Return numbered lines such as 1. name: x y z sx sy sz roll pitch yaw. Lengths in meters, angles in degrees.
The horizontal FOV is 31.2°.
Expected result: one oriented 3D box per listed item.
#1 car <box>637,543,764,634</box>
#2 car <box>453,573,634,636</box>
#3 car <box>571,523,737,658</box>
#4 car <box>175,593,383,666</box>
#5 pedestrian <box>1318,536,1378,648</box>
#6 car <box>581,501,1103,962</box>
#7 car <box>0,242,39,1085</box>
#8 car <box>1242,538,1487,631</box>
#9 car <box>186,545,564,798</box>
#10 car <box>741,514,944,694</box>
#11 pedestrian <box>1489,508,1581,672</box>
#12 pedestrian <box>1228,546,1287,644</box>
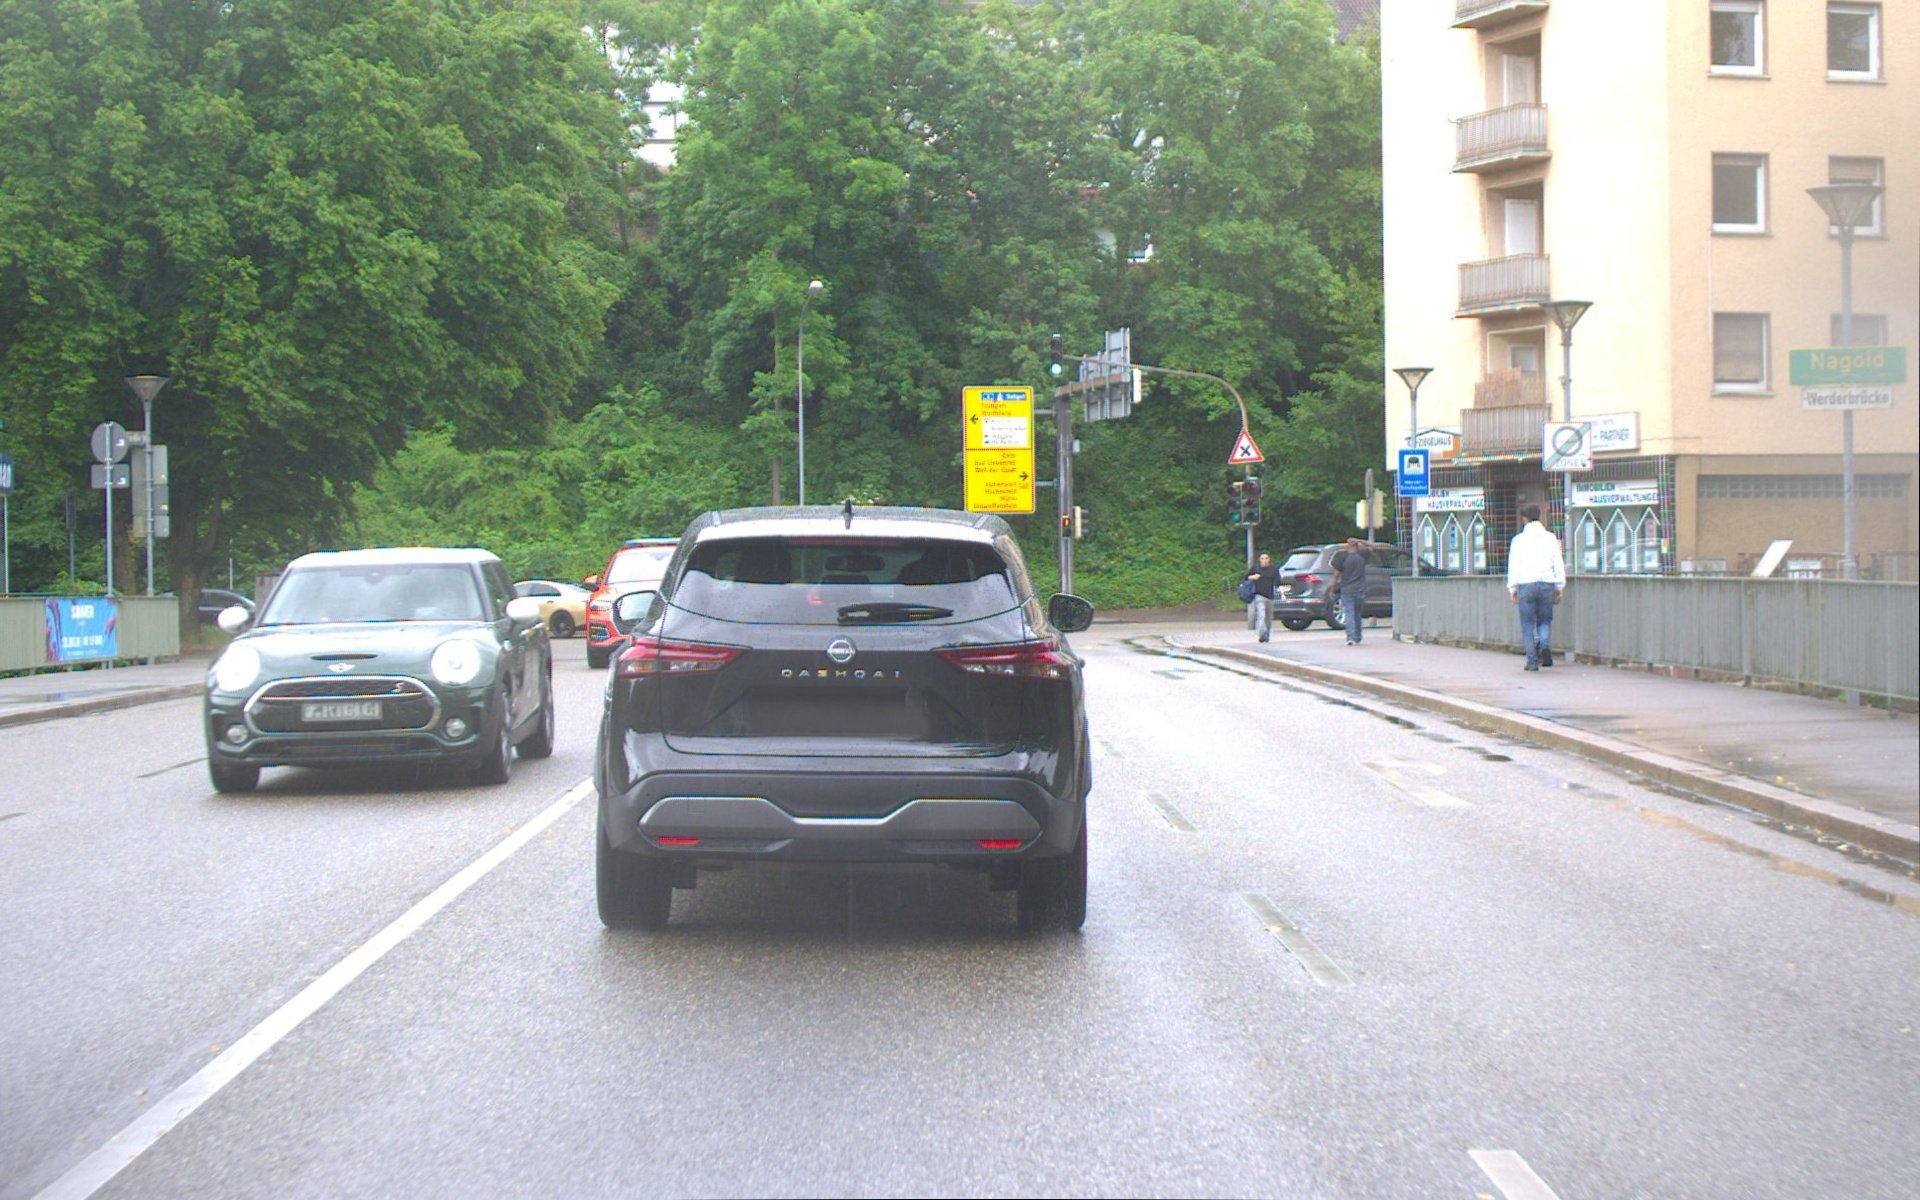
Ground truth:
1. car: -4.298 -0.219 57.468 1.781 1.397 4.219 -2 1 0
2. car: -10.159 0.112 83.739 4.086 1.411 1.712 -2 1 27
3. car: -4.173 -0.161 47.528 1.888 1.729 4.371 -2 1 0
4. car: -14.790 0.636 74.765 4.081 1.411 1.715 -2 1 3
5. pedestrian: 5.923 -0.130 52.507 0.761 1.671 0.781 -3 1 0
6. car: -0.442 0.420 14.012 1.811 1.597 4.000 1 1 -1
7. car: -3.714 0.274 6.407 2.289 2.300 6.510 -2 2 -1
8. car: 7.895 -0.309 67.063 4.366 1.643 1.884 -2 0 -26
9. car: -3.634 0.382 22.011 1.745 1.434 4.000 -1 1 0
10. car: -1.092 -0.005 33.093 1.811 1.597 4.000 1 1 -1
11. pedestrian: 6.257 -0.111 37.445 0.779 1.746 1.061 -1 0 -1
12. pedestrian: 5.010 -0.093 57.930 0.862 1.613 0.839 -2 0 -1
